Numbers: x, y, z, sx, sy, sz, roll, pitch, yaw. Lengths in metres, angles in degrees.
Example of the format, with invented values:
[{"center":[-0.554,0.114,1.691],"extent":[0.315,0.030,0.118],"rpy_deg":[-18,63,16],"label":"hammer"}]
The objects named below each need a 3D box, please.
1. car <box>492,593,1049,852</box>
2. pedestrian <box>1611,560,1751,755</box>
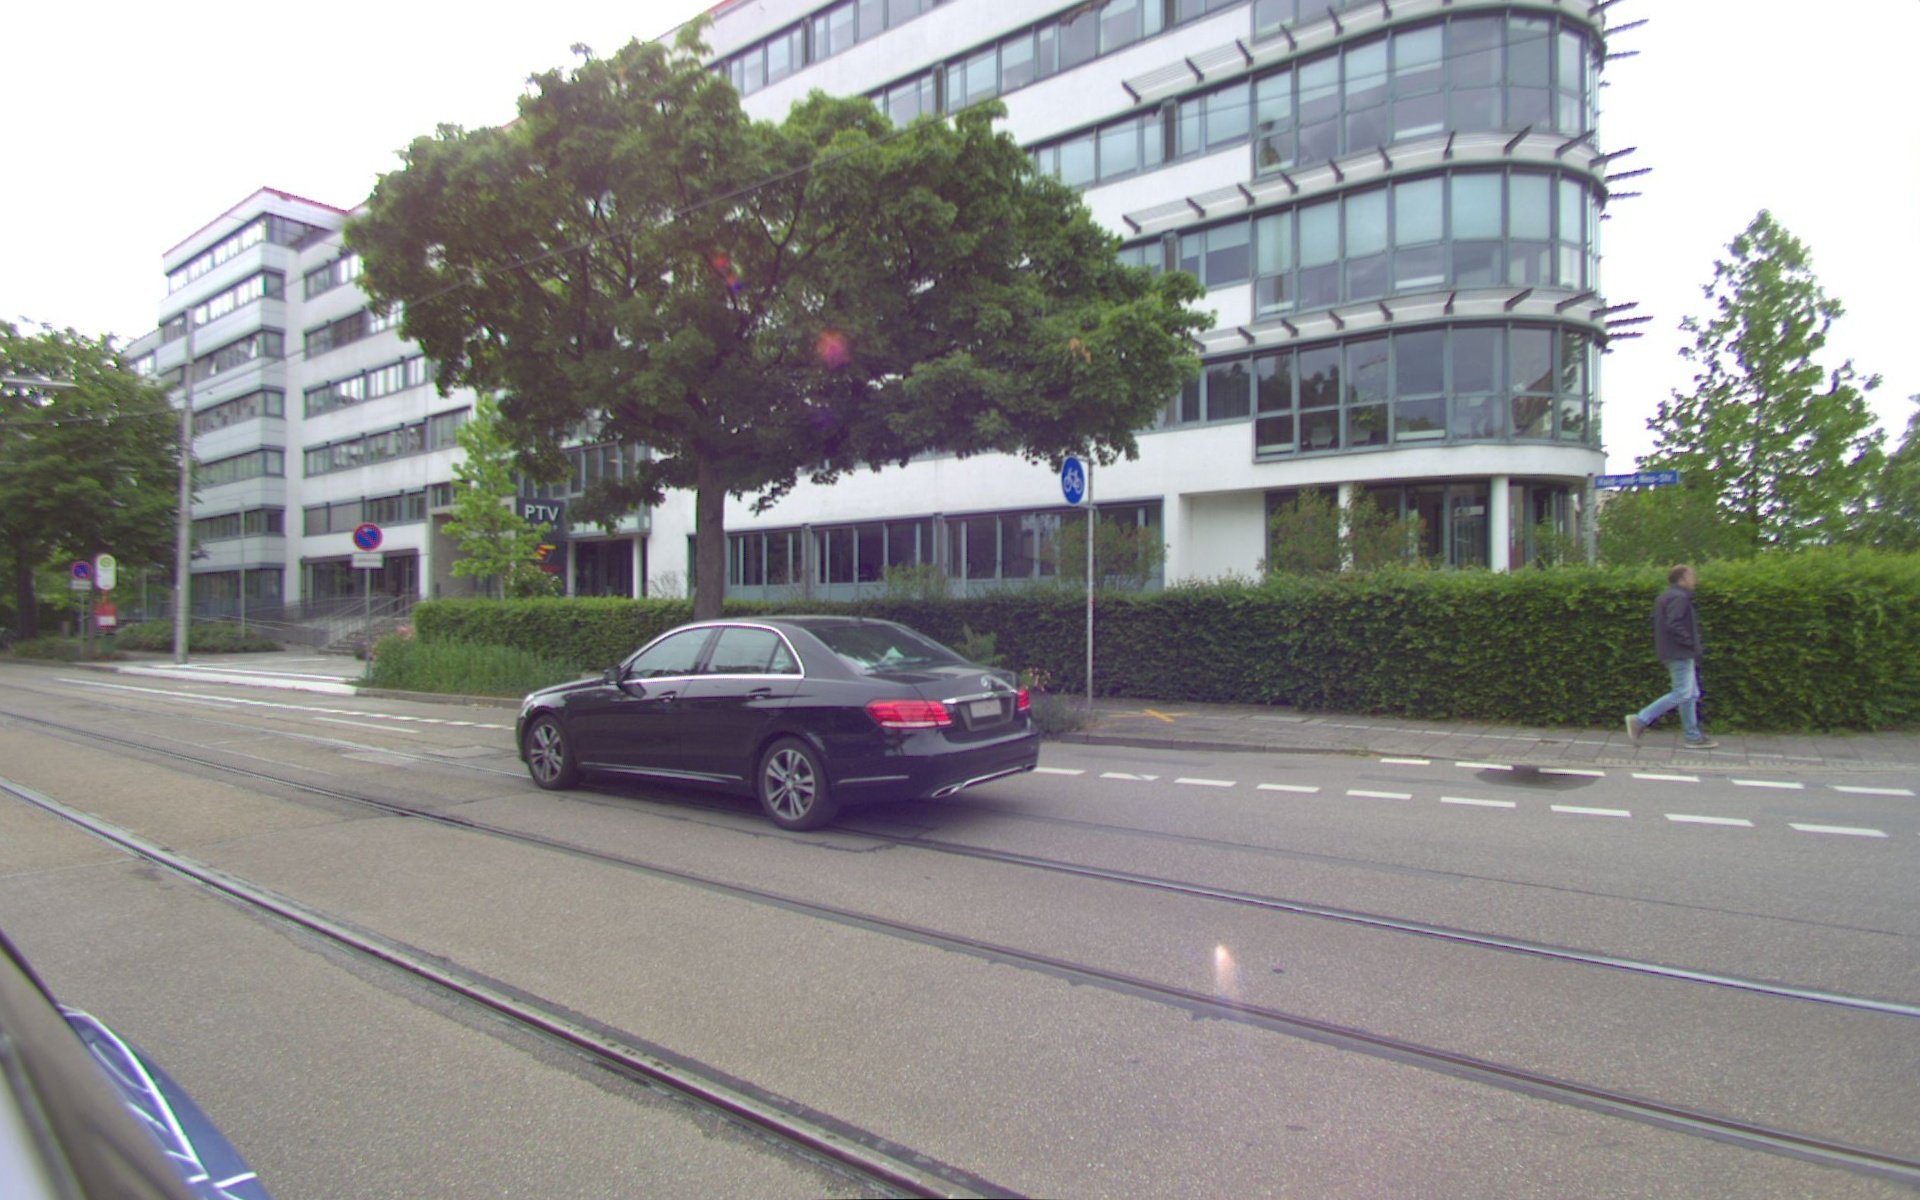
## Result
[{"center":[-1.670,0.757,8.119],"extent":[4.469,1.558,1.781],"rpy_deg":[-1,0,35],"label":"car"},{"center":[7.270,0.543,10.210],"extent":[1.059,1.839,0.795],"rpy_deg":[-1,0,41],"label":"pedestrian"}]
